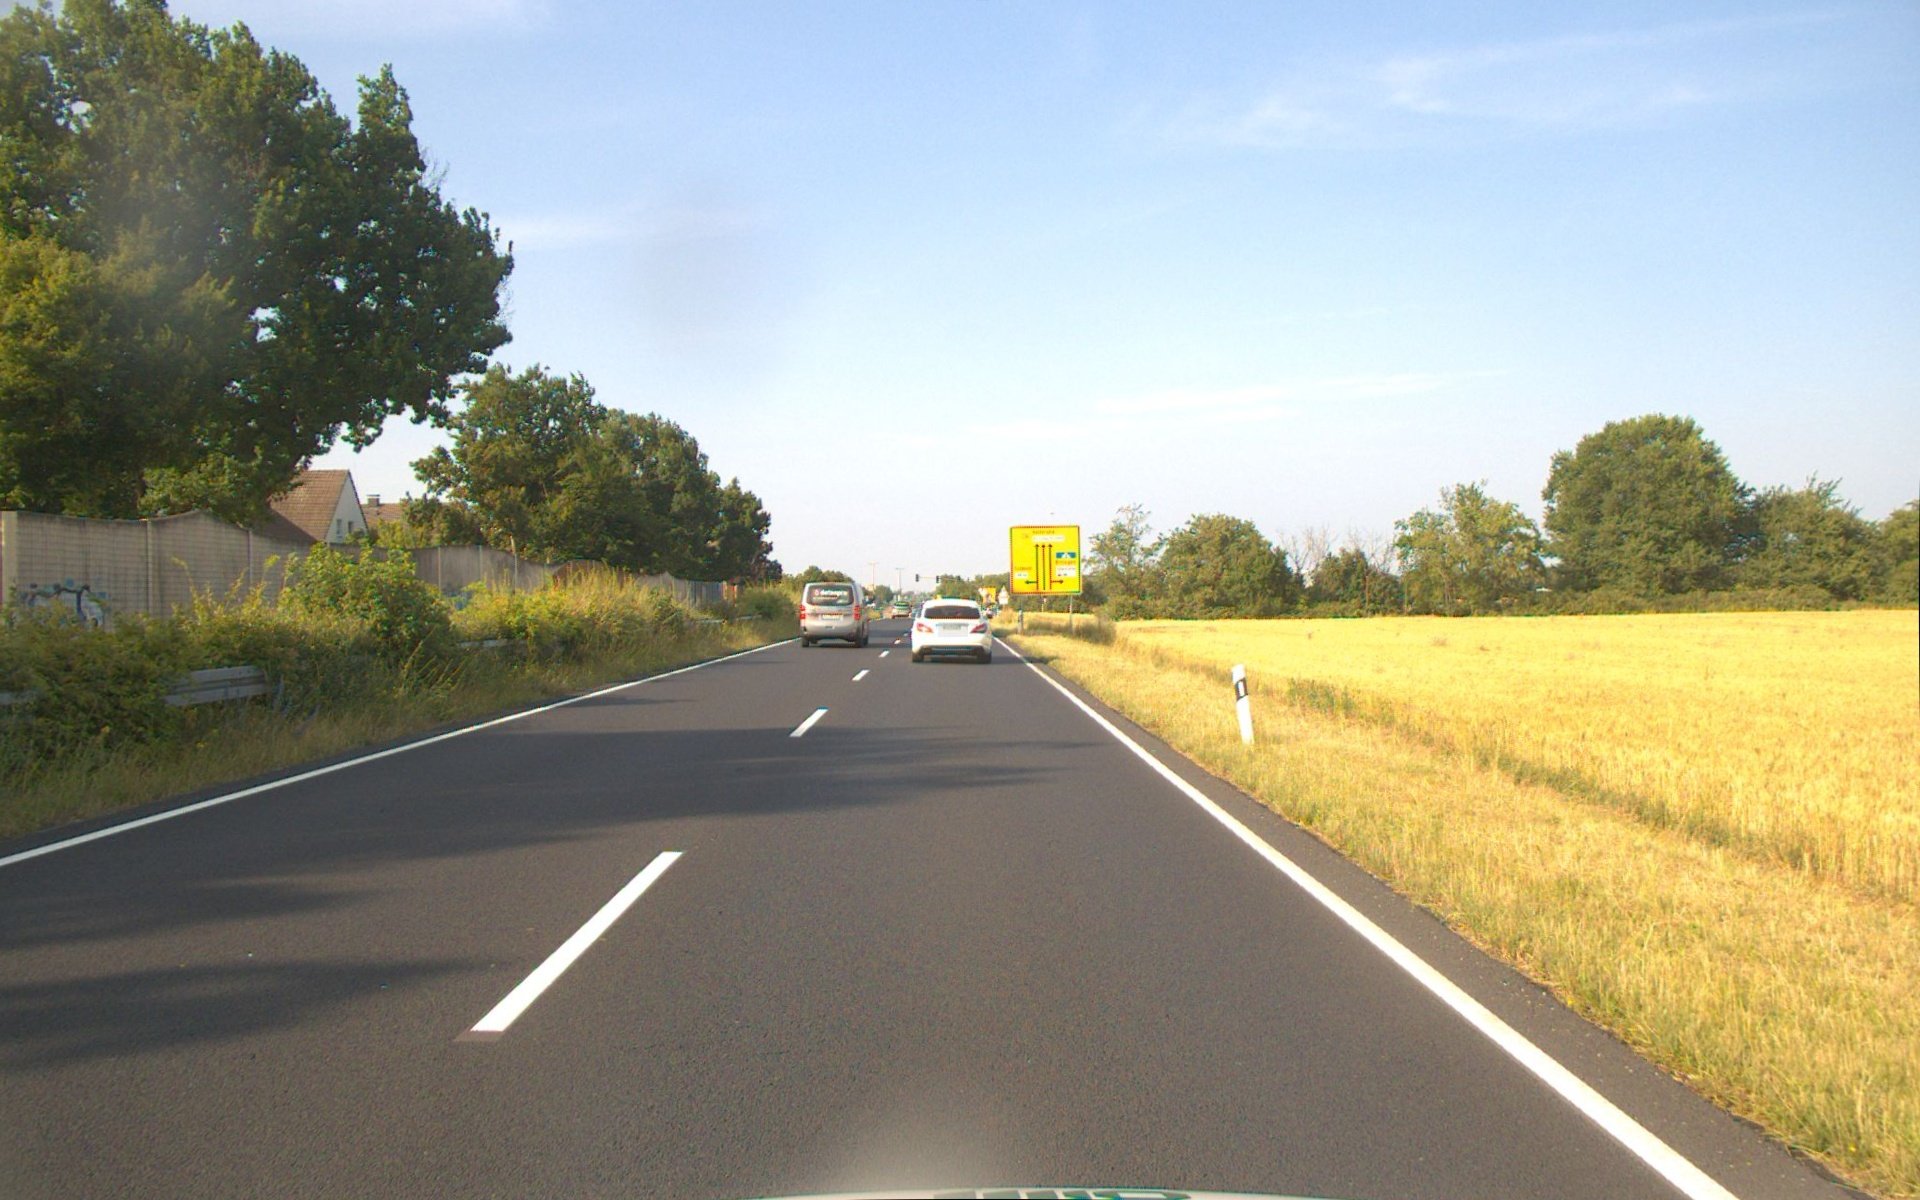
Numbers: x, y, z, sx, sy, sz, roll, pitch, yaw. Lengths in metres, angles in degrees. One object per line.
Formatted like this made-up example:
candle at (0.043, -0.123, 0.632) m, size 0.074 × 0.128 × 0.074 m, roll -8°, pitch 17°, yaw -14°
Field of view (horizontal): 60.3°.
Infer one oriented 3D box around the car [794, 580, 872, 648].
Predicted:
car at (-3.797, 0.401, 50.105) m, size 1.984 × 1.925 × 4.958 m, roll 1°, pitch 0°, yaw 0°

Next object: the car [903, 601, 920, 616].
car at (-4.978, 0.873, 169.271) m, size 1.682 × 1.518 × 3.584 m, roll 1°, pitch 0°, yaw -1°

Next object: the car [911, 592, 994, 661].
car at (-0.215, 0.609, 38.963) m, size 1.856 × 1.535 × 3.999 m, roll 0°, pitch 0°, yaw -1°

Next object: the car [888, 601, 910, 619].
car at (-5.119, 0.836, 139.550) m, size 1.682 × 1.518 × 3.584 m, roll 1°, pitch 0°, yaw -1°
